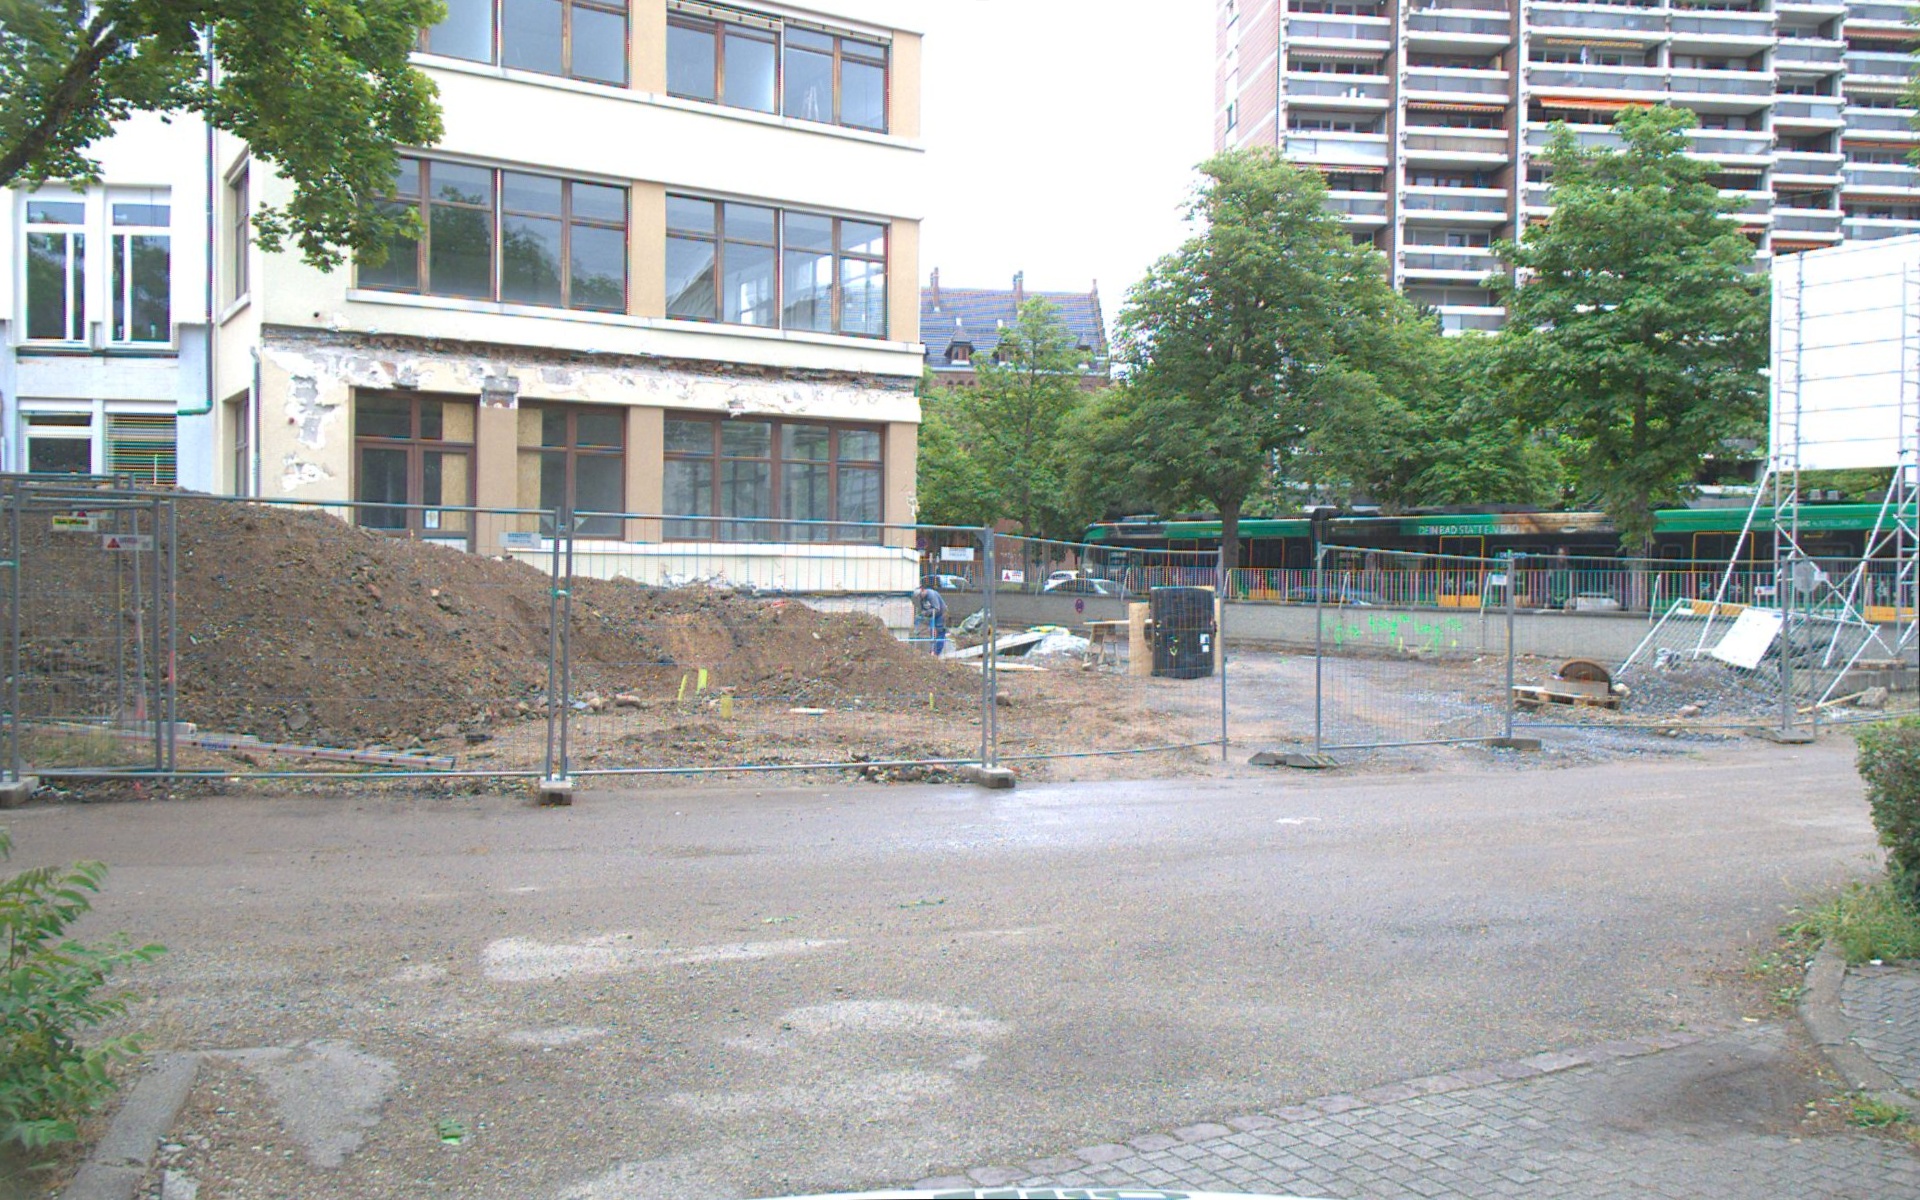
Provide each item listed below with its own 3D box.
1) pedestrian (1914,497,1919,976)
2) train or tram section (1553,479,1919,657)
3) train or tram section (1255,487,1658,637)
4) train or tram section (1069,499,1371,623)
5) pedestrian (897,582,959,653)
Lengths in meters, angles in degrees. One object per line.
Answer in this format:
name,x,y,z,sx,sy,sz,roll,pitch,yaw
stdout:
pedestrian,4.099,0.517,6.311,0.736,1.812,0.661,1,1,35
train or tram section,19.901,-0.687,36.283,2.633,3.677,14.612,0,1,-31
train or tram section,13.477,-1.021,46.711,2.633,3.677,12.323,0,1,-31
train or tram section,8.279,-1.243,55.259,2.633,3.677,12.323,0,1,-31
pedestrian,-0.672,0.351,34.671,0.972,1.463,0.919,0,0,-36
